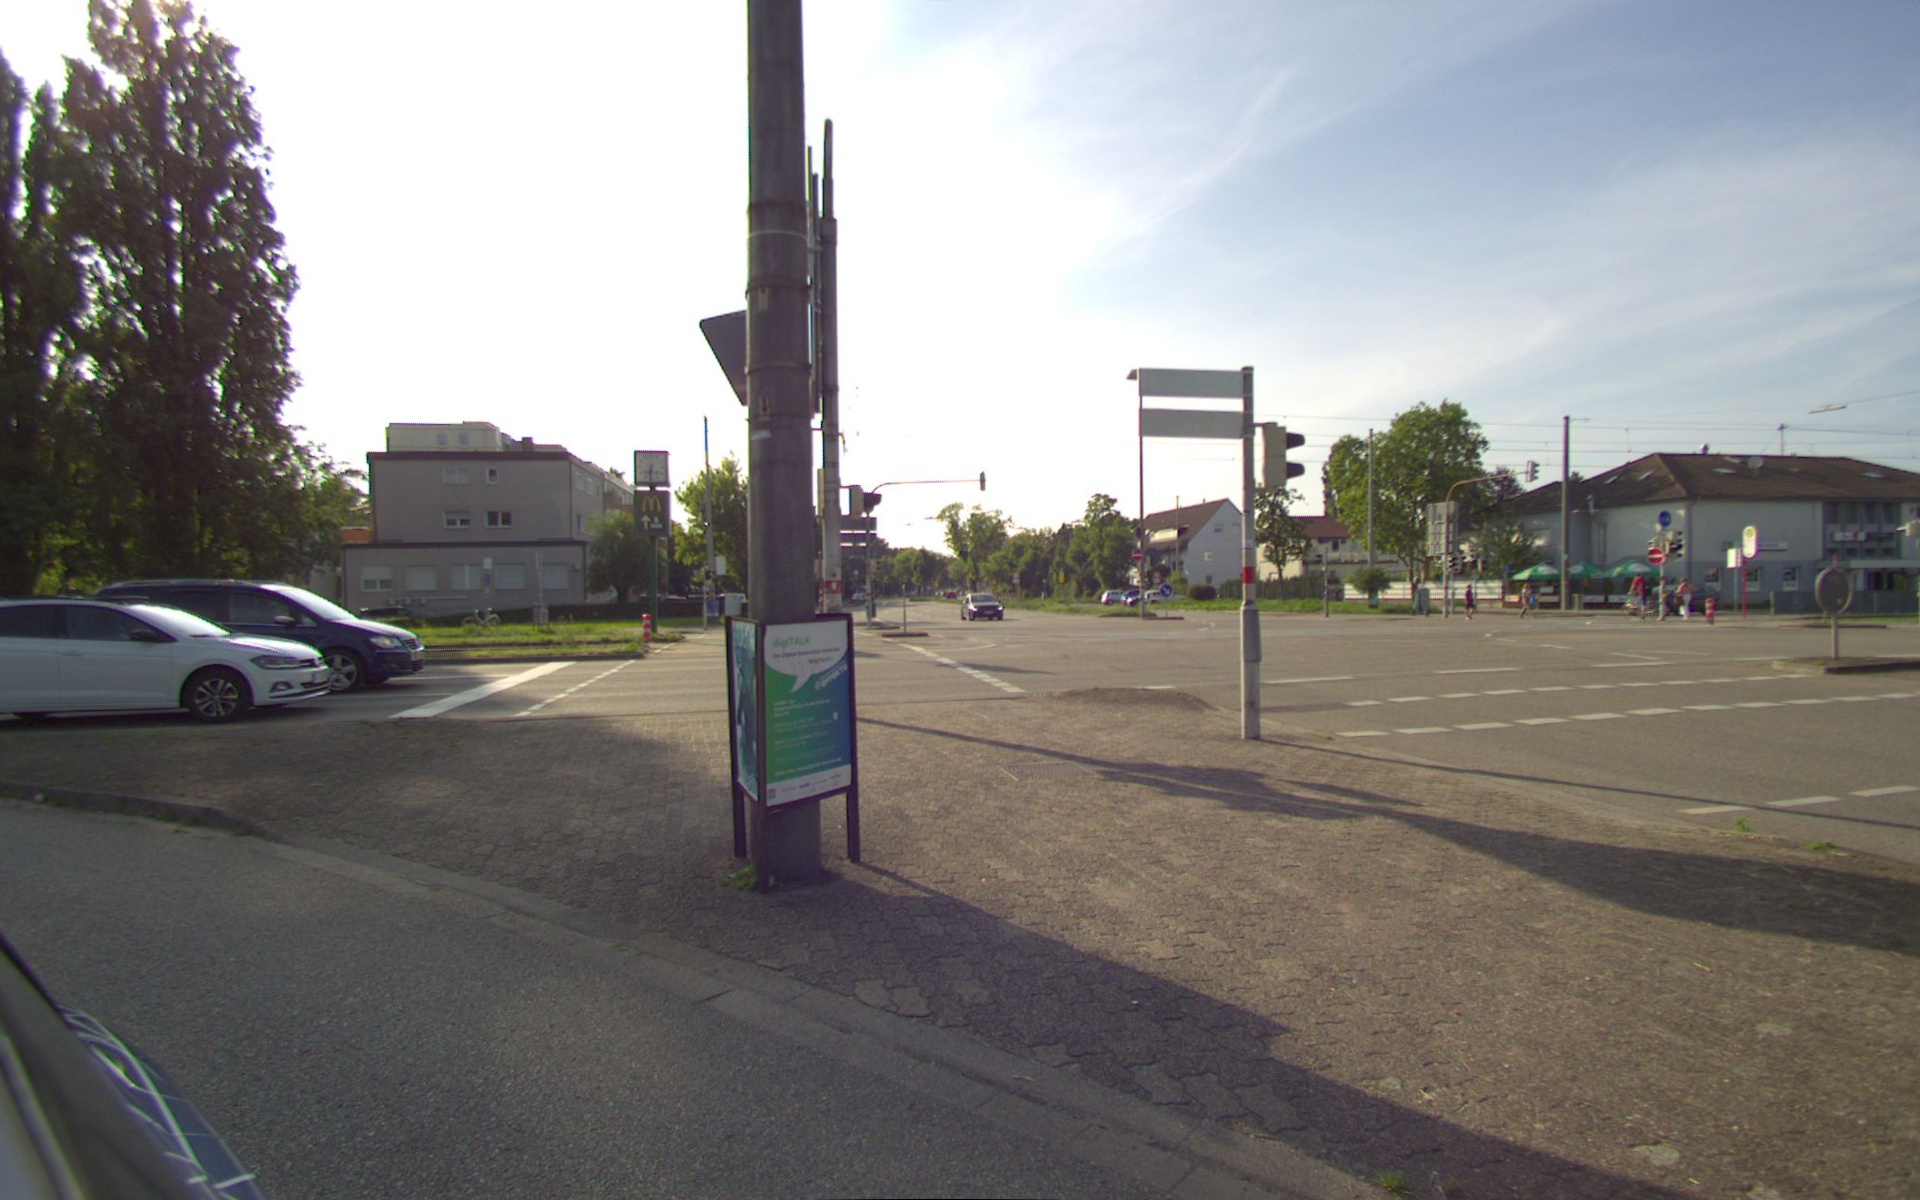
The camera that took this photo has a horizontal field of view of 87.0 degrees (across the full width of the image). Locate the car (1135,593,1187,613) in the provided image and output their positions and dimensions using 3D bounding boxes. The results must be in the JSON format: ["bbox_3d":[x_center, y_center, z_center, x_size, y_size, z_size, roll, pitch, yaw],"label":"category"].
[{"bbox_3d":[18.170,0.278,91.378,4.153,1.696,2.004,0,1,-7],"label":"car"}]

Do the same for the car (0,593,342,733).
[{"bbox_3d":[-9.720,0.691,11.829,3.946,1.454,1.666,-1,0,-16],"label":"car"}]

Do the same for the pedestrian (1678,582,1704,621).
[{"bbox_3d":[27.766,0.046,38.434,0.538,1.442,0.581,0,1,-13],"label":"pedestrian"}]

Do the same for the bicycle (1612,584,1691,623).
[{"bbox_3d":[25.061,0.099,36.702,1.089,1.358,2.088,0,1,-23],"label":"bicycle"}]

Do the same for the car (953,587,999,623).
[{"bbox_3d":[0.813,0.275,53.809,1.494,1.806,4.010,-1,0,-12],"label":"car"}]

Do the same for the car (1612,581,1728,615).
[{"bbox_3d":[33.434,-0.104,47.693,4.530,1.519,2.006,-1,0,-14],"label":"car"}]

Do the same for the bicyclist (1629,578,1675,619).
[{"bbox_3d":[25.071,-0.056,36.653,1.117,1.442,0.890,0,1,-23],"label":"bicyclist"}]

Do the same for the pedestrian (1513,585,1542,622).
[{"bbox_3d":[25.362,0.166,45.236,0.799,1.611,0.752,-1,0,-15],"label":"pedestrian"}]

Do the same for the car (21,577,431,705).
[{"bbox_3d":[-10.559,0.549,14.912,4.664,1.664,1.515,-1,0,-14],"label":"car"}]

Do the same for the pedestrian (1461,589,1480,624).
[{"bbox_3d":[23.493,0.290,46.596,0.531,1.611,0.514,-1,0,-11],"label":"pedestrian"}]
